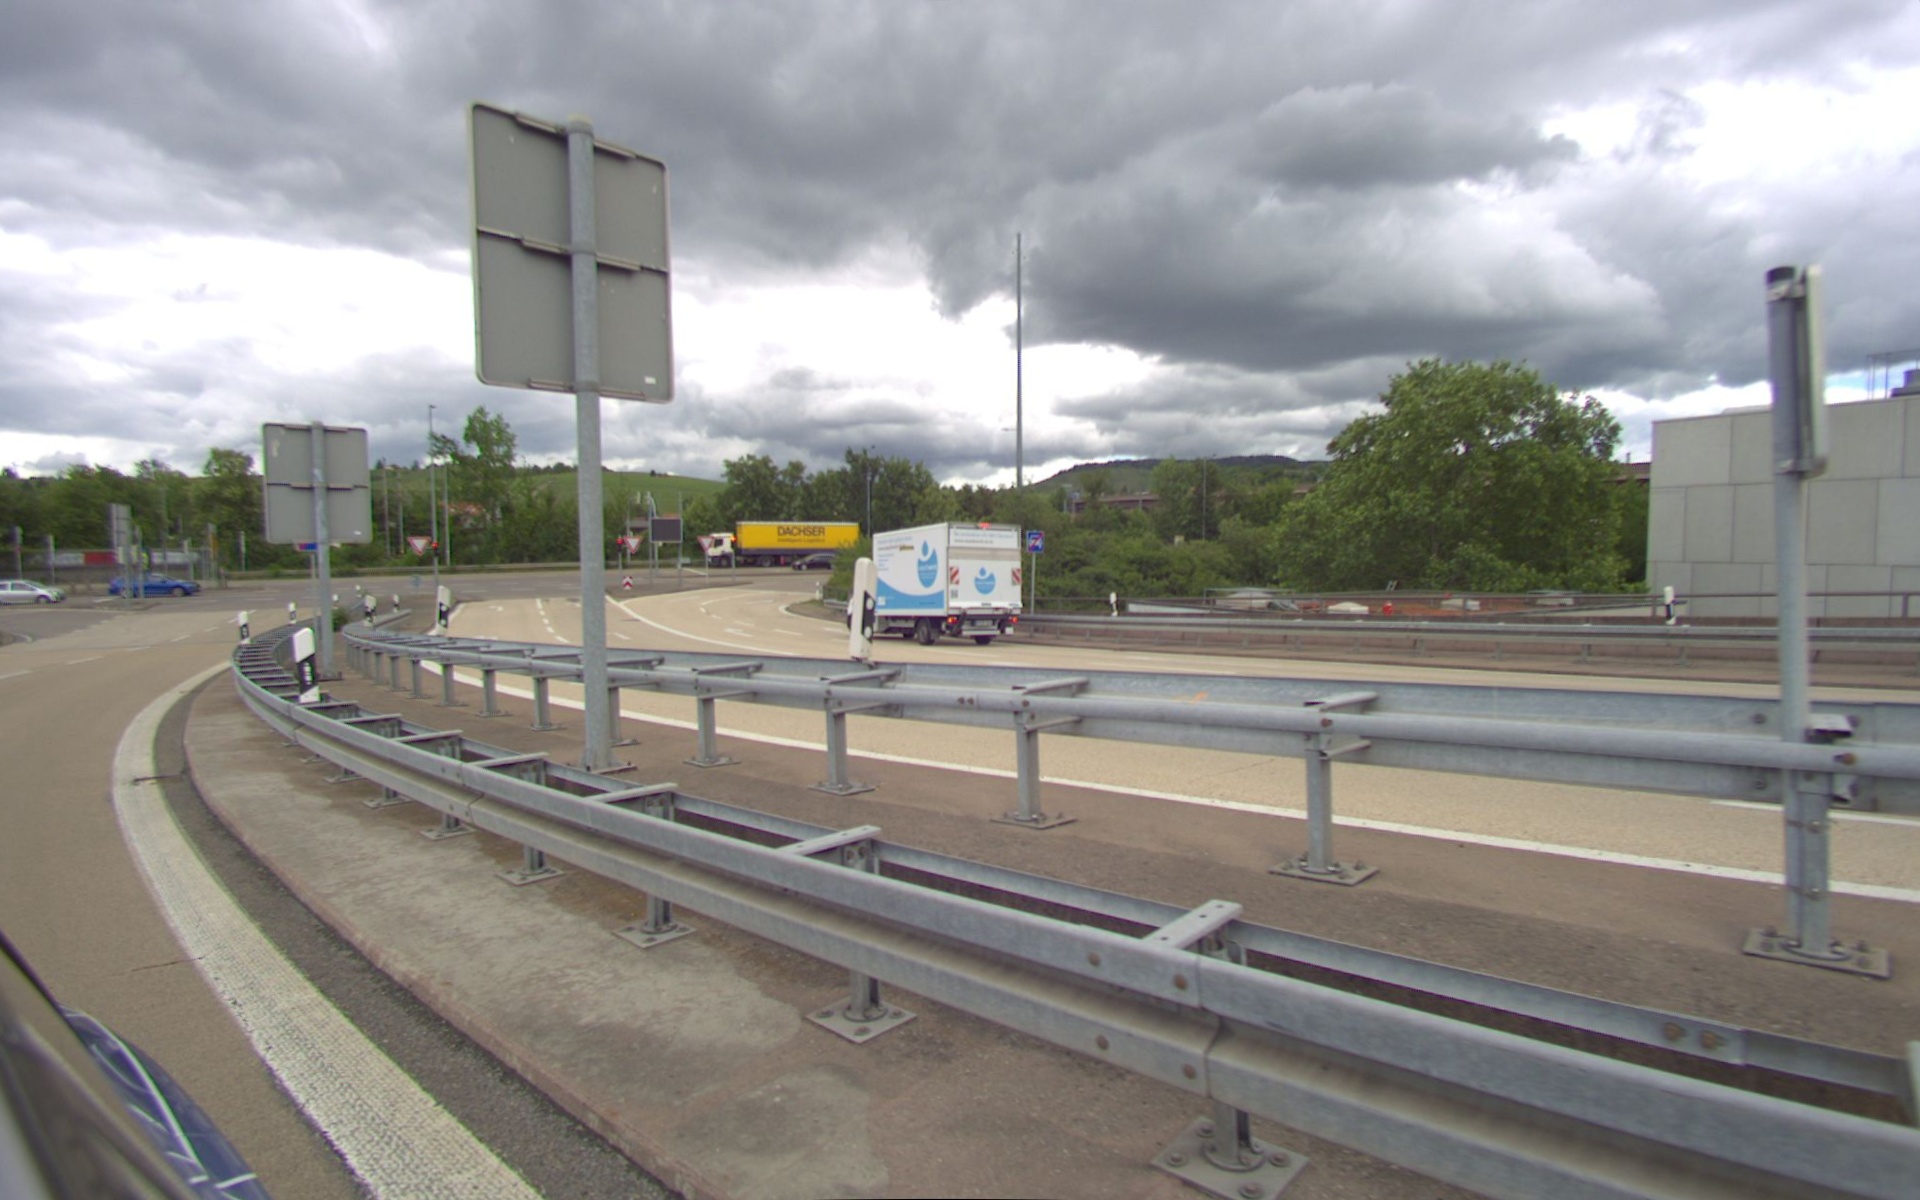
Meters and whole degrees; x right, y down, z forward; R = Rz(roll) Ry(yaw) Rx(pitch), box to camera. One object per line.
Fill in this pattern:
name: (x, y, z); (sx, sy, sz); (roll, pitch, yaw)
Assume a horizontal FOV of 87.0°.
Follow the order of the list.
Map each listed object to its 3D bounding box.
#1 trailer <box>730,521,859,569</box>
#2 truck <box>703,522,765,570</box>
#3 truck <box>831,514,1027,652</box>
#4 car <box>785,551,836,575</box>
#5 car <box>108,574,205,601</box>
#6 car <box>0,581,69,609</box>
trailer: (-15.351, -5.176, 94.414); (11.455, 4.234, 2.644); (-2, 4, -22)
truck: (-20.610, -4.980, 92.261); (5.014, 4.234, 2.644); (-2, 4, -22)
truck: (-1.081, -0.534, 27.760); (2.312, 3.287, 7.017); (-2, 3, -30)
car: (-12.987, -3.230, 87.979); (4.055, 1.672, 1.635); (-5, 7, -24)
car: (-50.602, -0.809, 63.837); (4.464, 1.464, 1.616); (-3, 5, -21)
car: (-54.755, -0.290, 59.123); (3.684, 1.384, 1.634); (-3, 5, -22)
